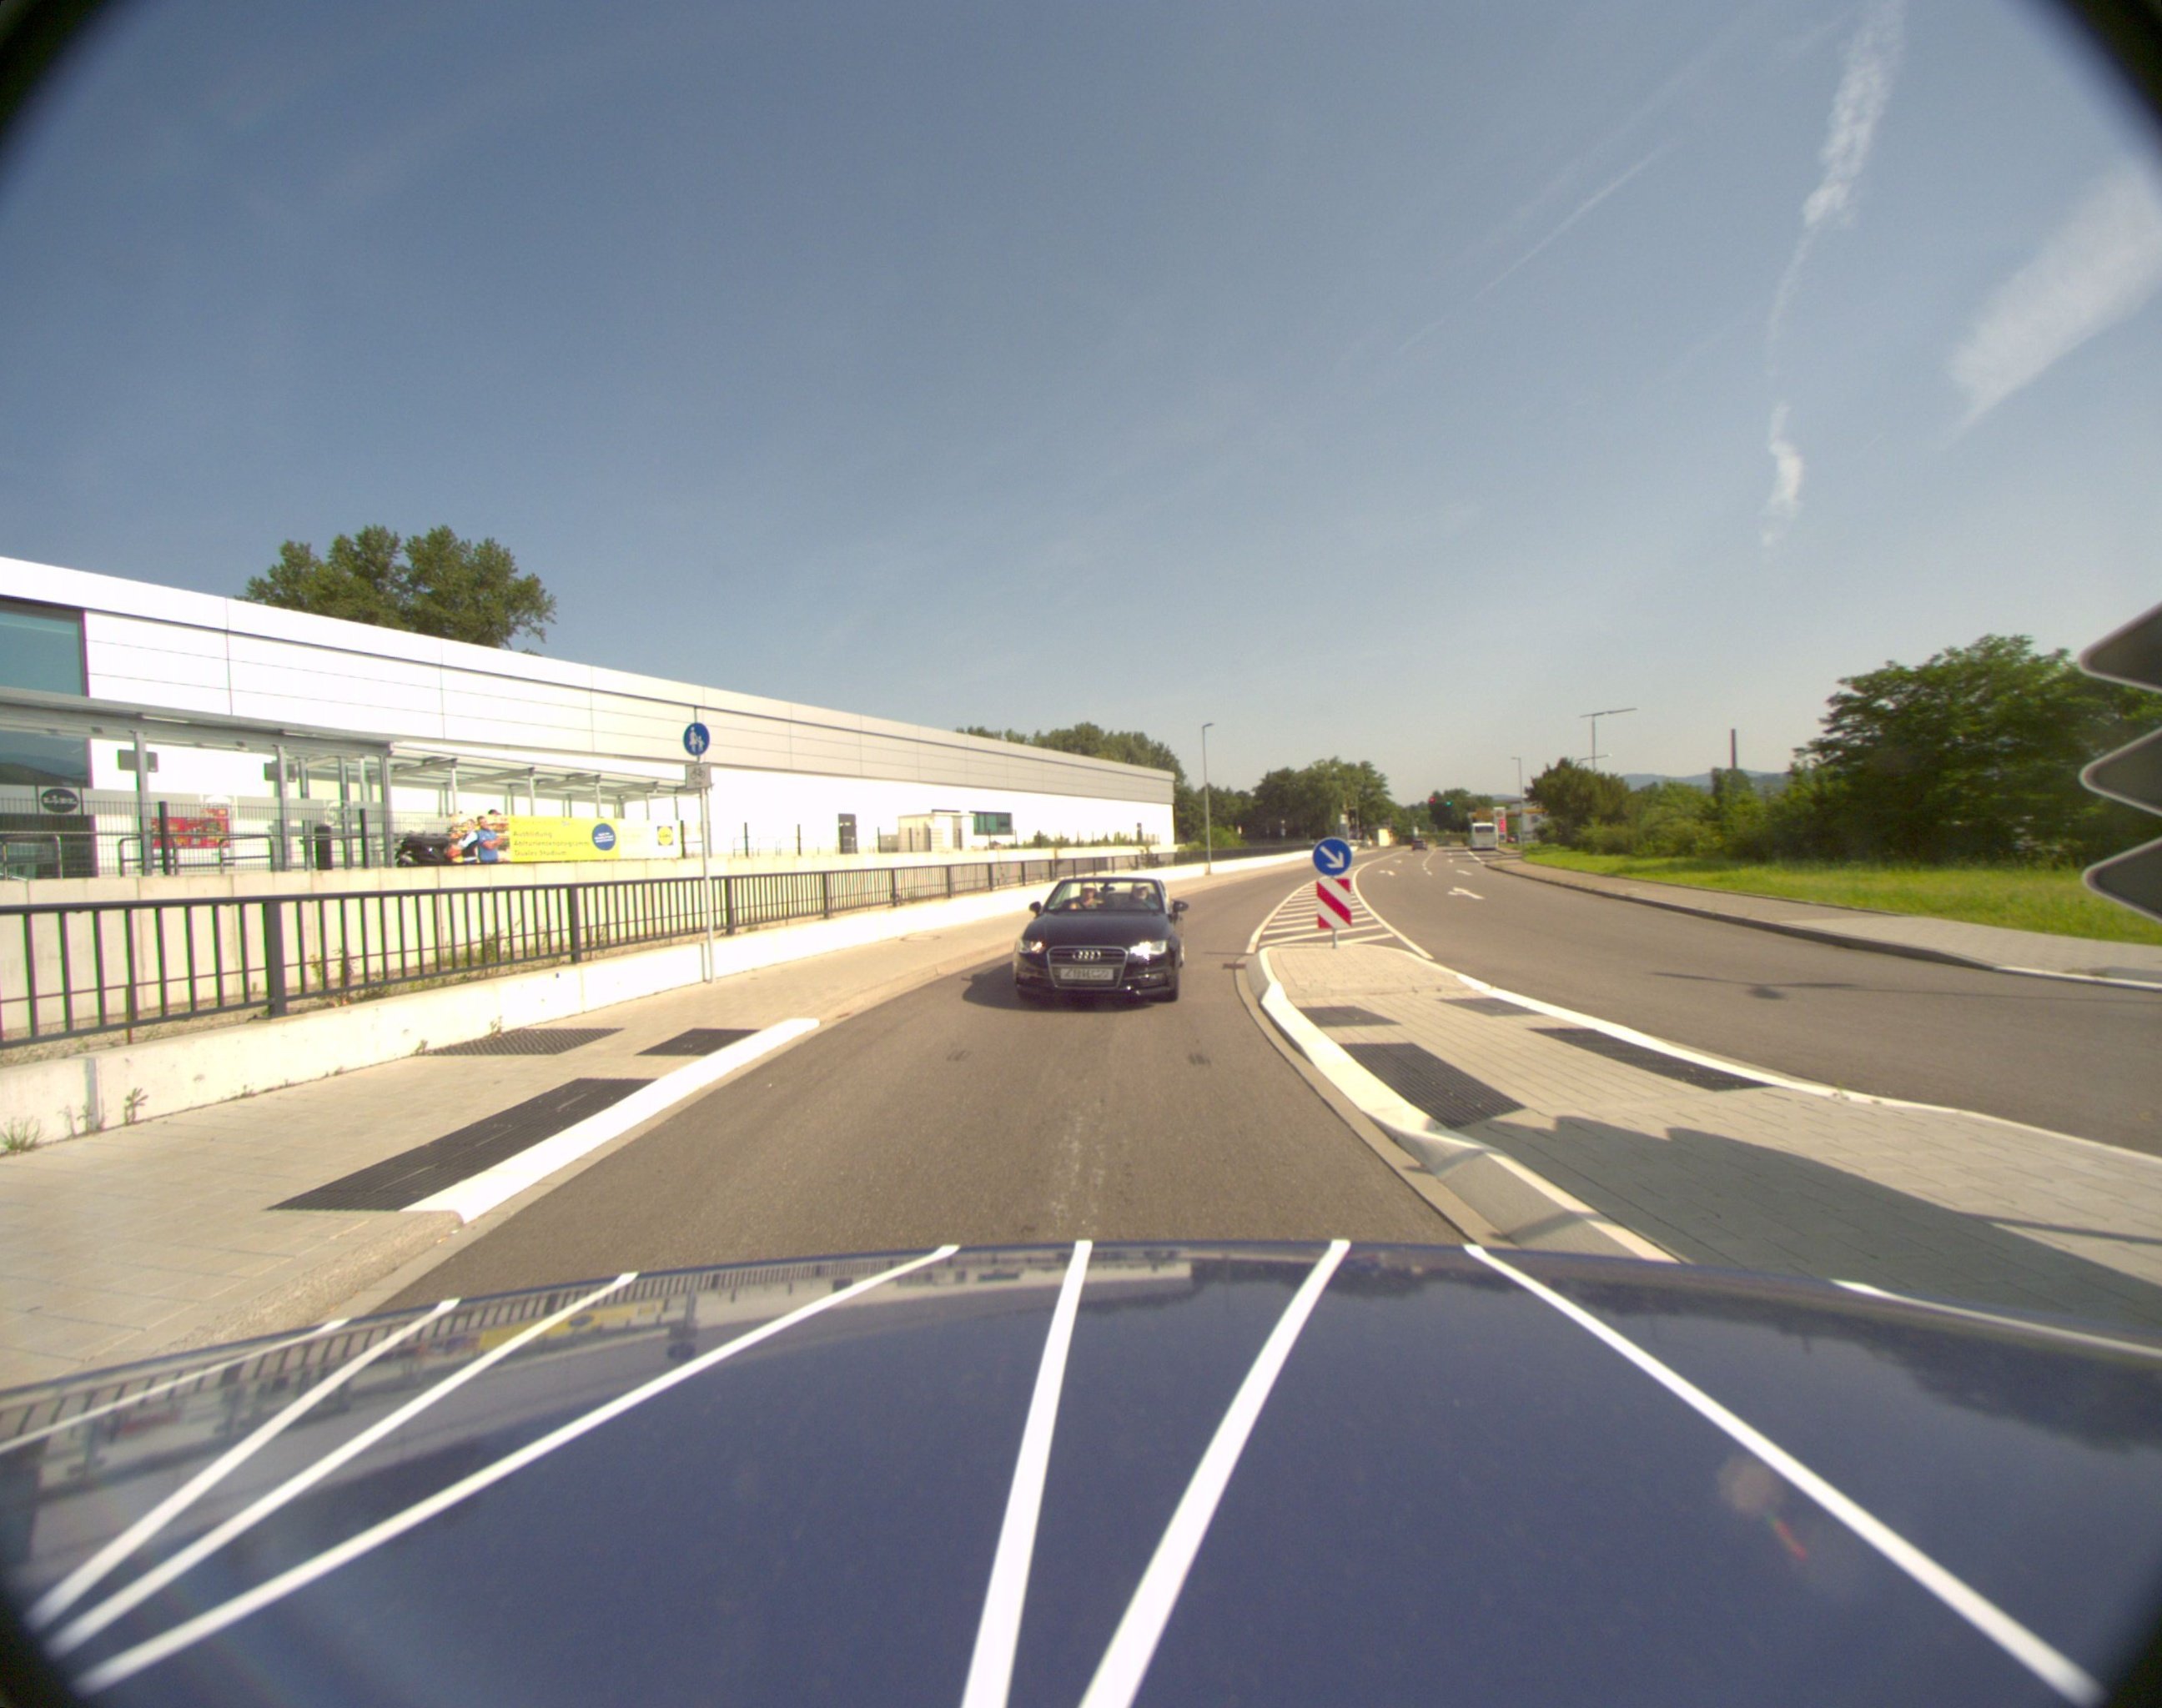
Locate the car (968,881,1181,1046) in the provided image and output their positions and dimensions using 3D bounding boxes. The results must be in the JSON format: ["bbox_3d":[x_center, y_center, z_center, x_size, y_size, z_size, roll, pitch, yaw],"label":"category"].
[{"bbox_3d":[0.180,1.066,8.914,1.868,1.322,4.235,-2,-1,7],"label":"car"}]

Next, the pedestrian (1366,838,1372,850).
[{"bbox_3d":[40.503,-1.395,106.759,0.711,1.662,0.594,-1,2,20],"label":"pedestrian"}]

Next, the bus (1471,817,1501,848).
[{"bbox_3d":[47.853,-2.564,90.082,2.623,3.291,11.975,-1,1,26],"label":"bus"}]

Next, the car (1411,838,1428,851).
[{"bbox_3d":[43.675,-1.256,98.067,1.773,1.464,4.226,-1,1,27],"label":"car"}]
